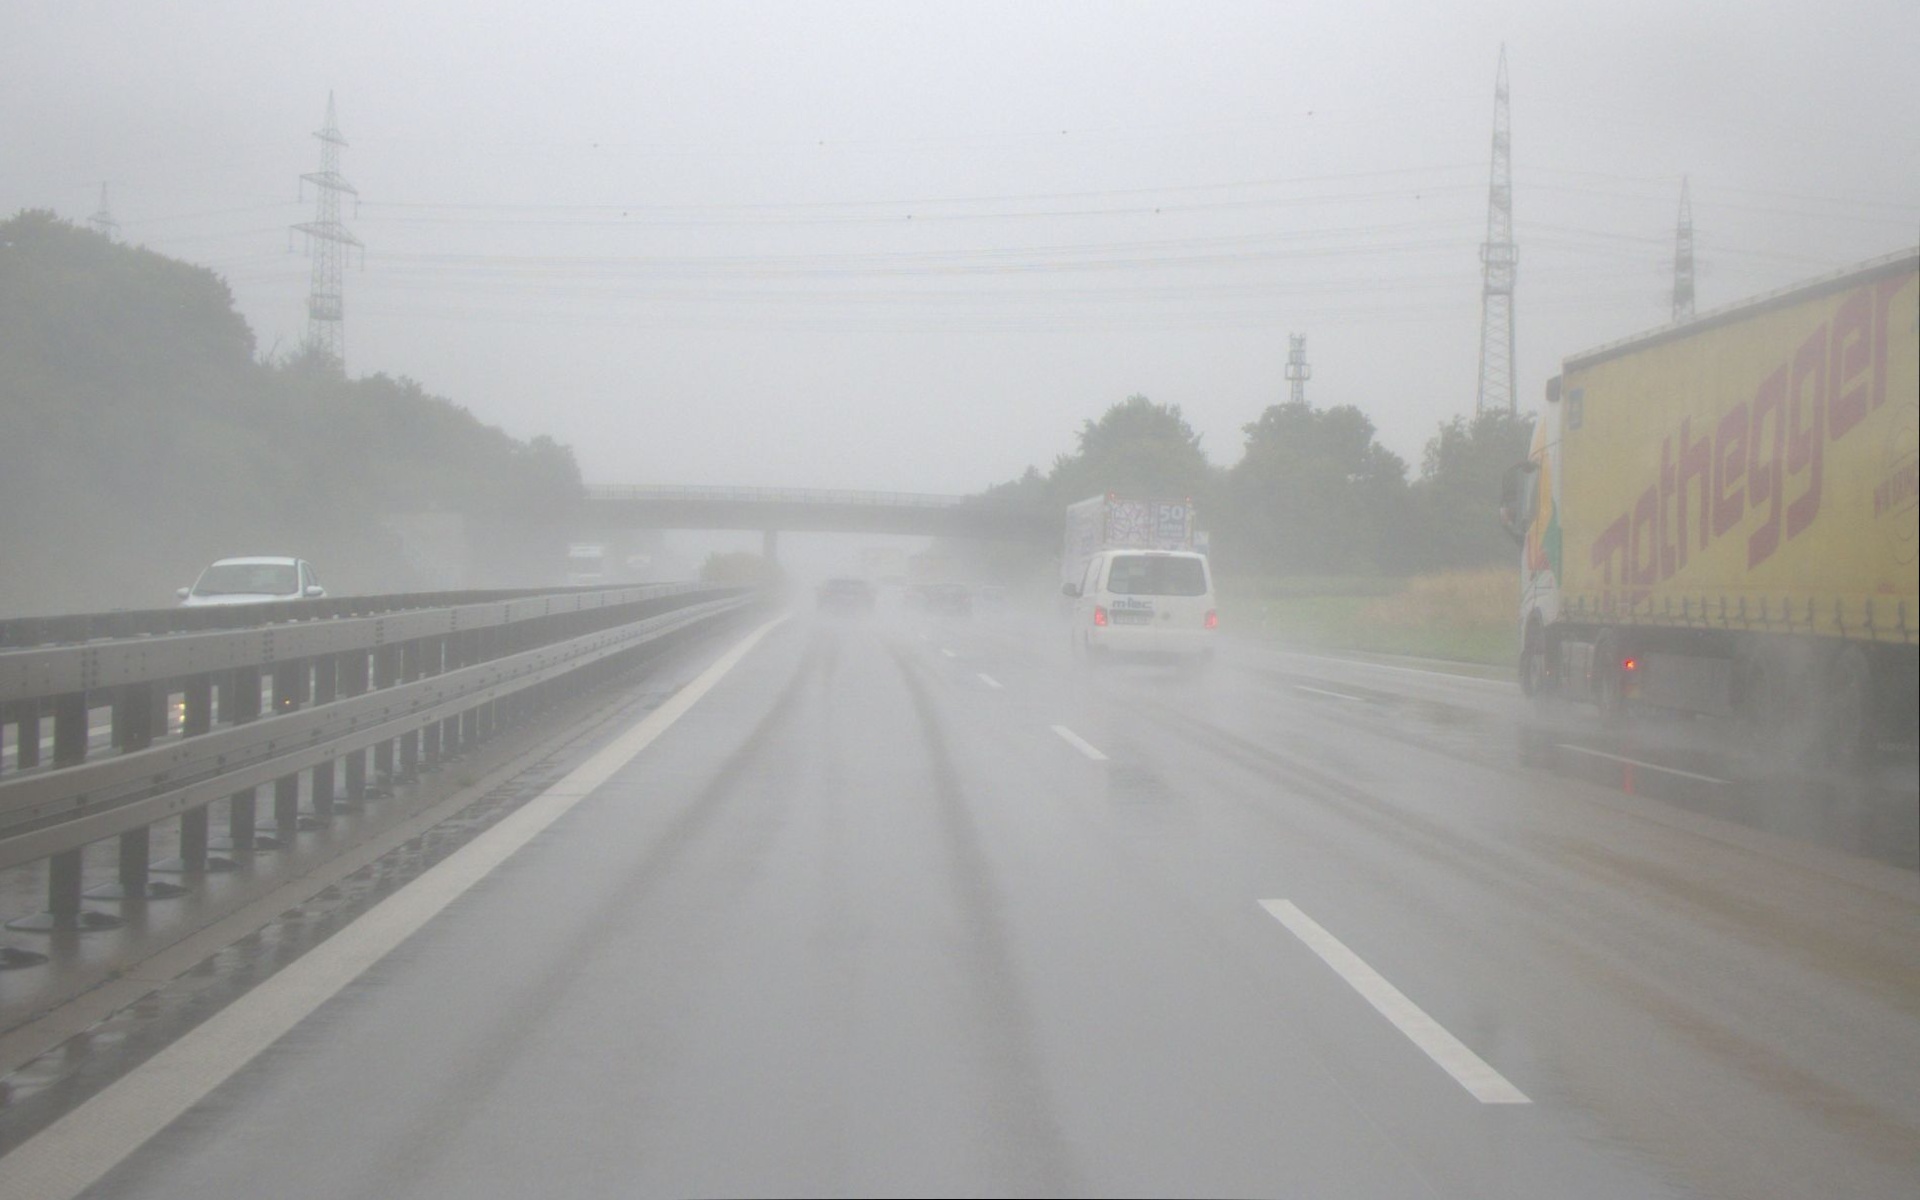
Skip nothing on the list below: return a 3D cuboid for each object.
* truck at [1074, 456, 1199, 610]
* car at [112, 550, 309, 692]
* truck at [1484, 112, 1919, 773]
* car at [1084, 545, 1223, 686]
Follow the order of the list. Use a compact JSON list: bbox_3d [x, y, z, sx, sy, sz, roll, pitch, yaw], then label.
[{"bbox_3d":[5.074,-1.968,100.457,3.232,4.296,8.837,0,1,0],"label":"truck"},{"bbox_3d":[-11.096,0.285,51.149,1.993,2.007,4.000,0,0,1],"label":"car"},{"bbox_3d":[8.195,-1.193,32.058,4.189,4.614,16.106,0,1,0],"label":"truck"},{"bbox_3d":[2.922,0.195,51.370,1.994,2.007,4.000,0,1,4],"label":"car"}]
